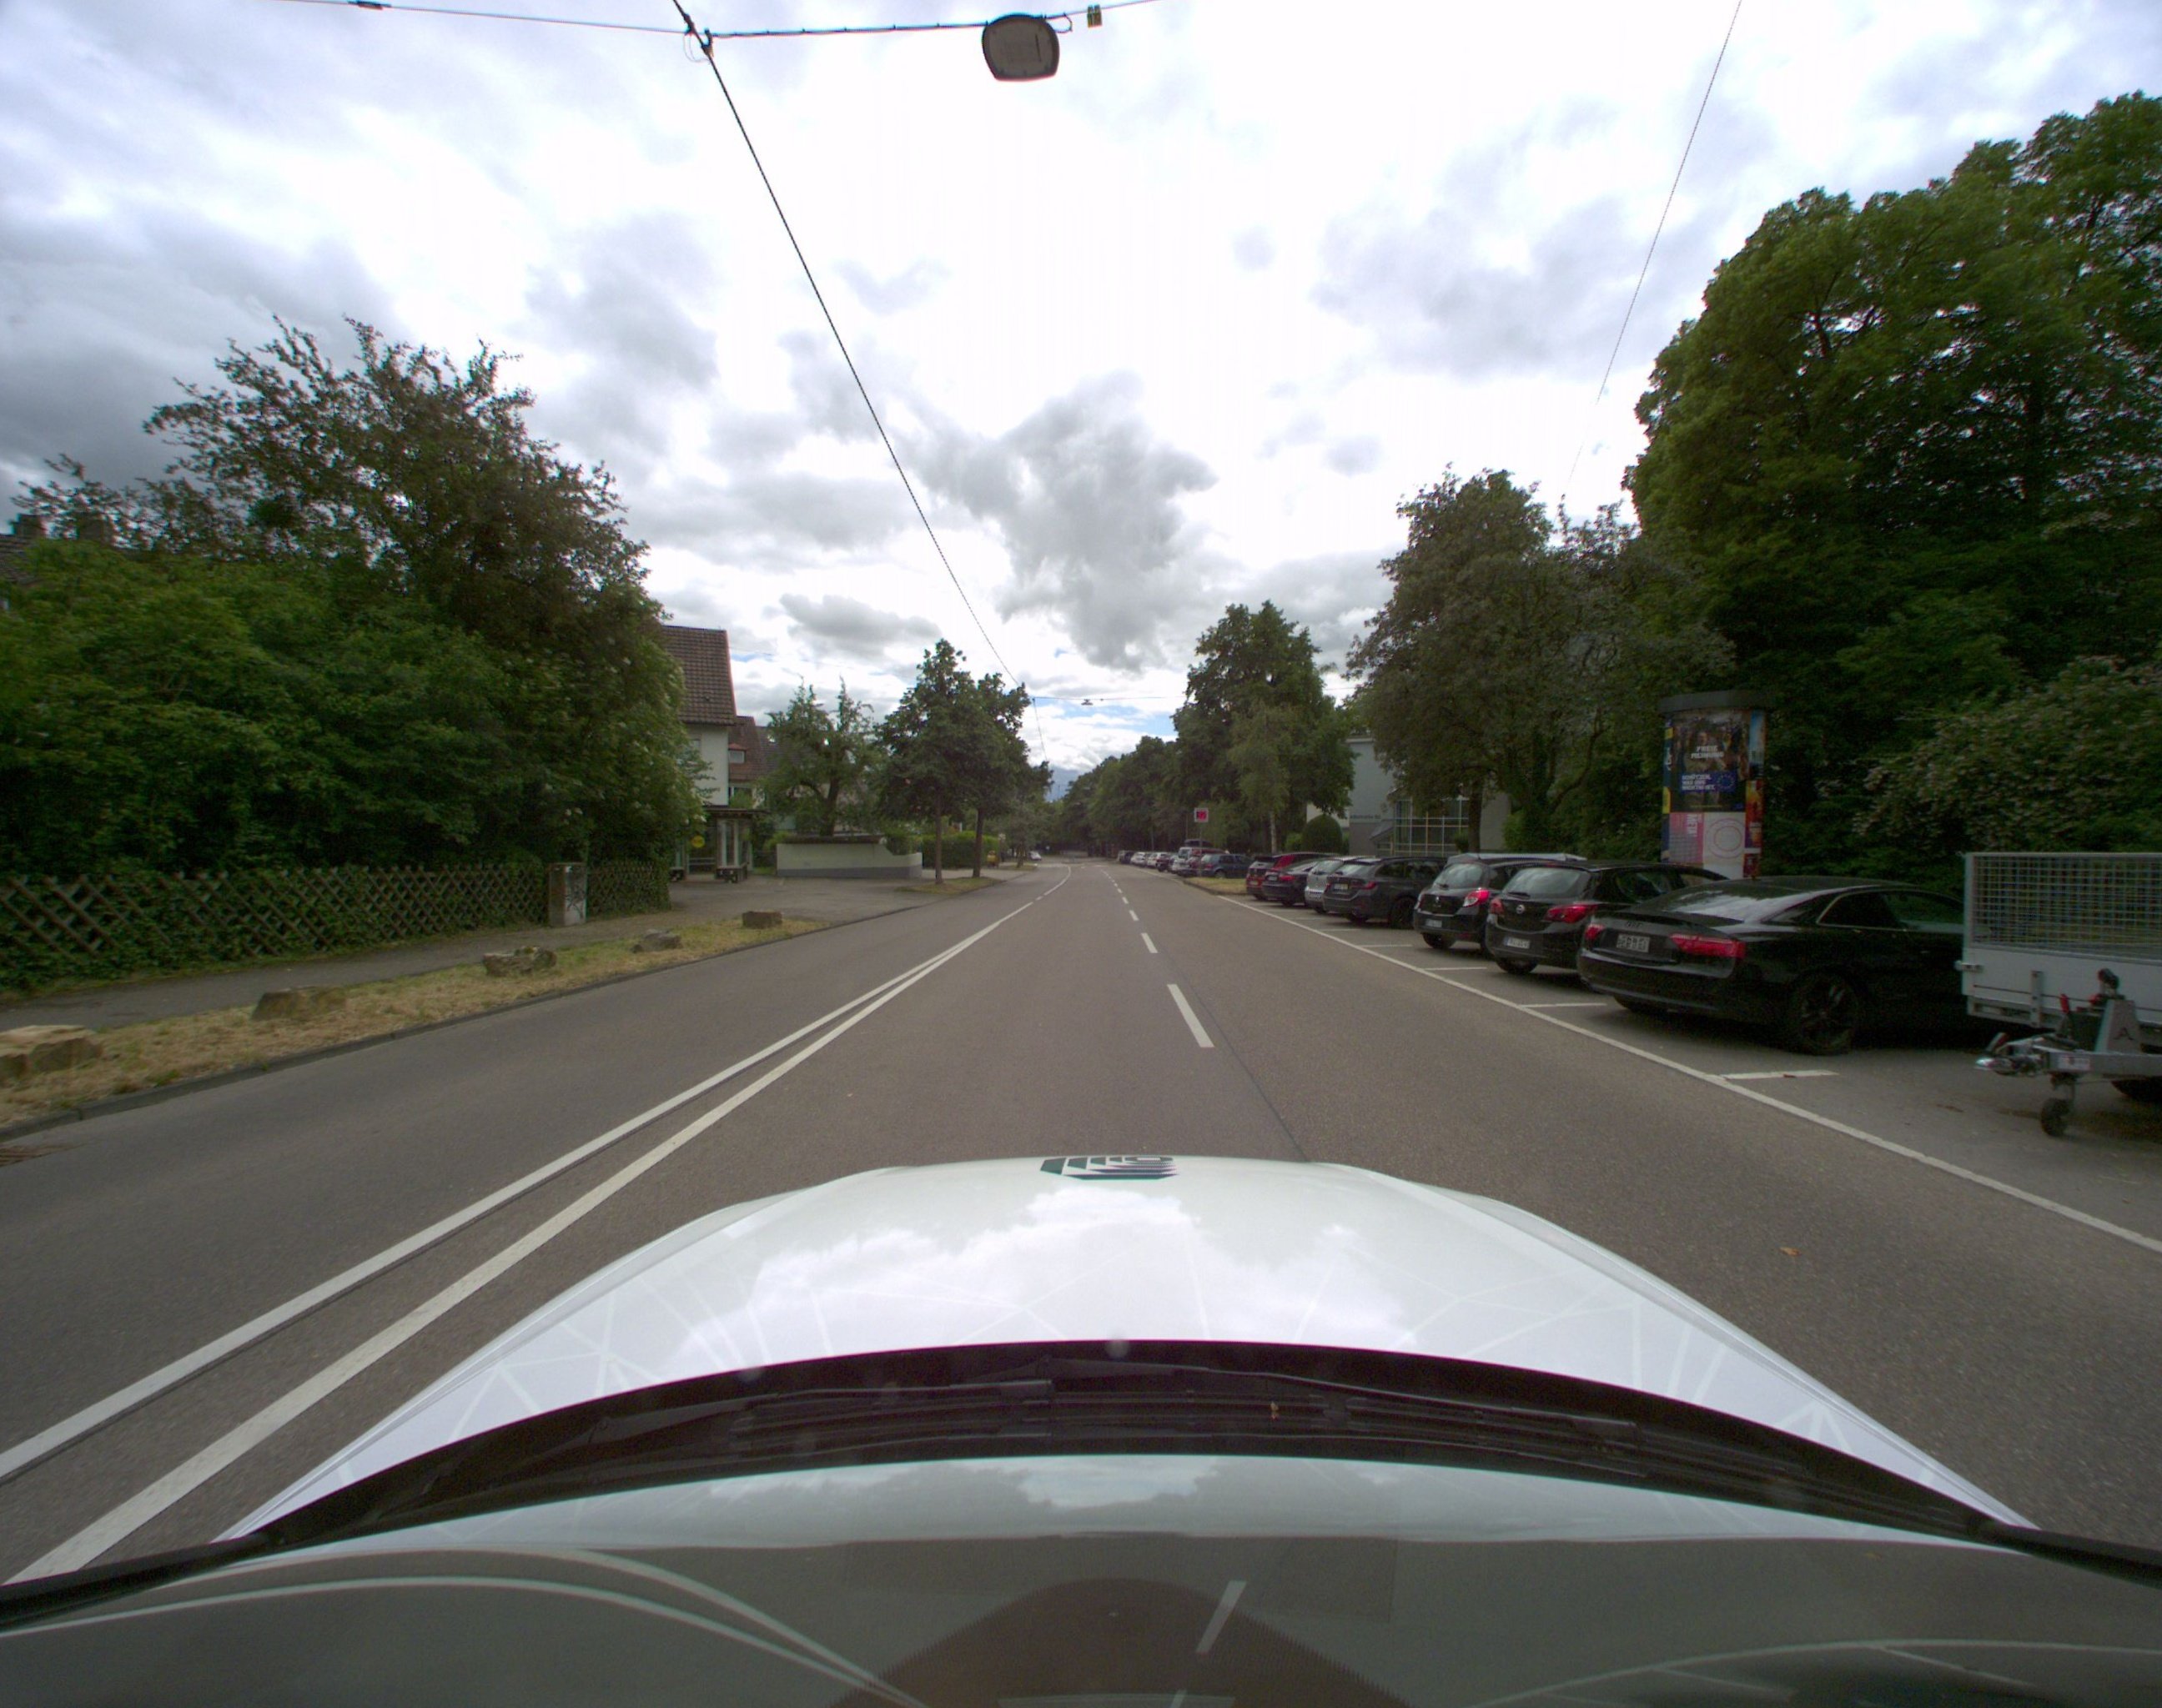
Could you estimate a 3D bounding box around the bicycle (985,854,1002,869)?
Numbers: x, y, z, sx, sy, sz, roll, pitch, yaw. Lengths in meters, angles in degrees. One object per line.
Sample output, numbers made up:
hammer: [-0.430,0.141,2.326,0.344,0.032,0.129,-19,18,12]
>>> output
bicycle: [-7.530,0.632,70.222,0.840,1.266,2.659,1,1,9]

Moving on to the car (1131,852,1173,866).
car: [7.351,0.504,84.367,3.896,1.429,1.733,1,0,-19]

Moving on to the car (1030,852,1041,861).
car: [-7.776,0.445,139.098,1.864,1.471,3.992,0,0,-6]

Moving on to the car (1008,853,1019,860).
car: [-13.830,0.474,167.407,1.868,1.471,3.984,0,0,-12]

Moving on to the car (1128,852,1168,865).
car: [7.119,0.485,86.946,3.896,1.429,1.733,1,0,-19]

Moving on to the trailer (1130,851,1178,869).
trailer: [6.805,0.532,75.896,4.166,1.573,1.701,1,0,-18]

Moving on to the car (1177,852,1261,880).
car: [7.286,0.649,43.190,4.037,1.405,1.747,1,0,-17]

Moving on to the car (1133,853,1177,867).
car: [7.126,0.578,78.582,3.901,1.309,1.730,1,0,-23]

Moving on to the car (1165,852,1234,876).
car: [7.653,0.647,52.721,3.972,1.449,1.909,1,0,-14]

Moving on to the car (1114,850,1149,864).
car: [6.227,0.367,99.745,3.896,1.668,1.733,1,0,-19]

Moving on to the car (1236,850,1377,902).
car: [7.087,0.653,25.593,4.086,1.515,1.721,0,0,-21]

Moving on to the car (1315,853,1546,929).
car: [7.316,0.747,17.143,4.349,1.445,1.627,1,0,-13]

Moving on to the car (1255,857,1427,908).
car: [7.212,0.779,22.687,4.316,1.341,1.726,1,0,-13]

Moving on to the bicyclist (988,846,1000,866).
bicyclist: [-7.516,0.161,70.287,0.840,1.697,0.715,1,1,8]

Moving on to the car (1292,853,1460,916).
car: [7.259,0.736,20.116,3.616,1.445,1.626,1,0,-15]

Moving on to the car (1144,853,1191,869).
car: [7.853,0.616,73.709,3.898,1.449,1.732,1,0,-20]

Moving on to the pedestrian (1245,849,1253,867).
pedestrian: [14.891,0.340,72.119,0.646,1.603,0.745,0,0,6]

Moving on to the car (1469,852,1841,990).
car: [7.028,0.749,10.072,3.917,1.486,1.610,1,0,-14]

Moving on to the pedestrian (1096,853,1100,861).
pedestrian: [3.190,0.550,154.620,0.736,1.570,0.654,0,0,12]

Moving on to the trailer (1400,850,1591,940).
trailer: [7.643,0.730,15.085,2.988,1.542,1.298,1,1,-12]

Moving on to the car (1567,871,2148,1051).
car: [6.664,0.841,7.173,4.034,1.327,1.555,1,-1,-8]

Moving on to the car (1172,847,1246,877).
car: [7.701,0.484,49.002,4.106,1.754,1.772,1,0,-26]

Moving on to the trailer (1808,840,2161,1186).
trailer: [6.507,0.733,4.618,3.689,1.535,1.640,1,0,-10]

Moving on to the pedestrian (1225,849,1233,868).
pedestrian: [13.110,0.382,72.140,0.646,1.671,0.745,0,0,7]

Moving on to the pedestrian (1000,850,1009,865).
pedestrian: [-8.918,0.372,94.708,0.972,1.730,0.848,0,0,-3]

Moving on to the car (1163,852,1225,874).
car: [7.985,0.646,57.562,3.896,1.449,1.832,1,0,-19]

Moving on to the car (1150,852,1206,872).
car: [7.432,0.610,62.494,3.900,1.449,1.830,1,0,-23]

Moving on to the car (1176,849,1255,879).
car: [7.601,0.554,46.076,4.003,1.620,1.875,1,0,-15]

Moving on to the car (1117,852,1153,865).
car: [6.463,0.518,96.954,3.896,1.429,1.733,1,0,-19]

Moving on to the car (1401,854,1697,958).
car: [7.153,0.751,12.574,3.841,1.455,1.628,1,0,-11]

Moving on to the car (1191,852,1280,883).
car: [7.685,0.669,40.596,3.970,1.405,1.748,1,0,-14]
